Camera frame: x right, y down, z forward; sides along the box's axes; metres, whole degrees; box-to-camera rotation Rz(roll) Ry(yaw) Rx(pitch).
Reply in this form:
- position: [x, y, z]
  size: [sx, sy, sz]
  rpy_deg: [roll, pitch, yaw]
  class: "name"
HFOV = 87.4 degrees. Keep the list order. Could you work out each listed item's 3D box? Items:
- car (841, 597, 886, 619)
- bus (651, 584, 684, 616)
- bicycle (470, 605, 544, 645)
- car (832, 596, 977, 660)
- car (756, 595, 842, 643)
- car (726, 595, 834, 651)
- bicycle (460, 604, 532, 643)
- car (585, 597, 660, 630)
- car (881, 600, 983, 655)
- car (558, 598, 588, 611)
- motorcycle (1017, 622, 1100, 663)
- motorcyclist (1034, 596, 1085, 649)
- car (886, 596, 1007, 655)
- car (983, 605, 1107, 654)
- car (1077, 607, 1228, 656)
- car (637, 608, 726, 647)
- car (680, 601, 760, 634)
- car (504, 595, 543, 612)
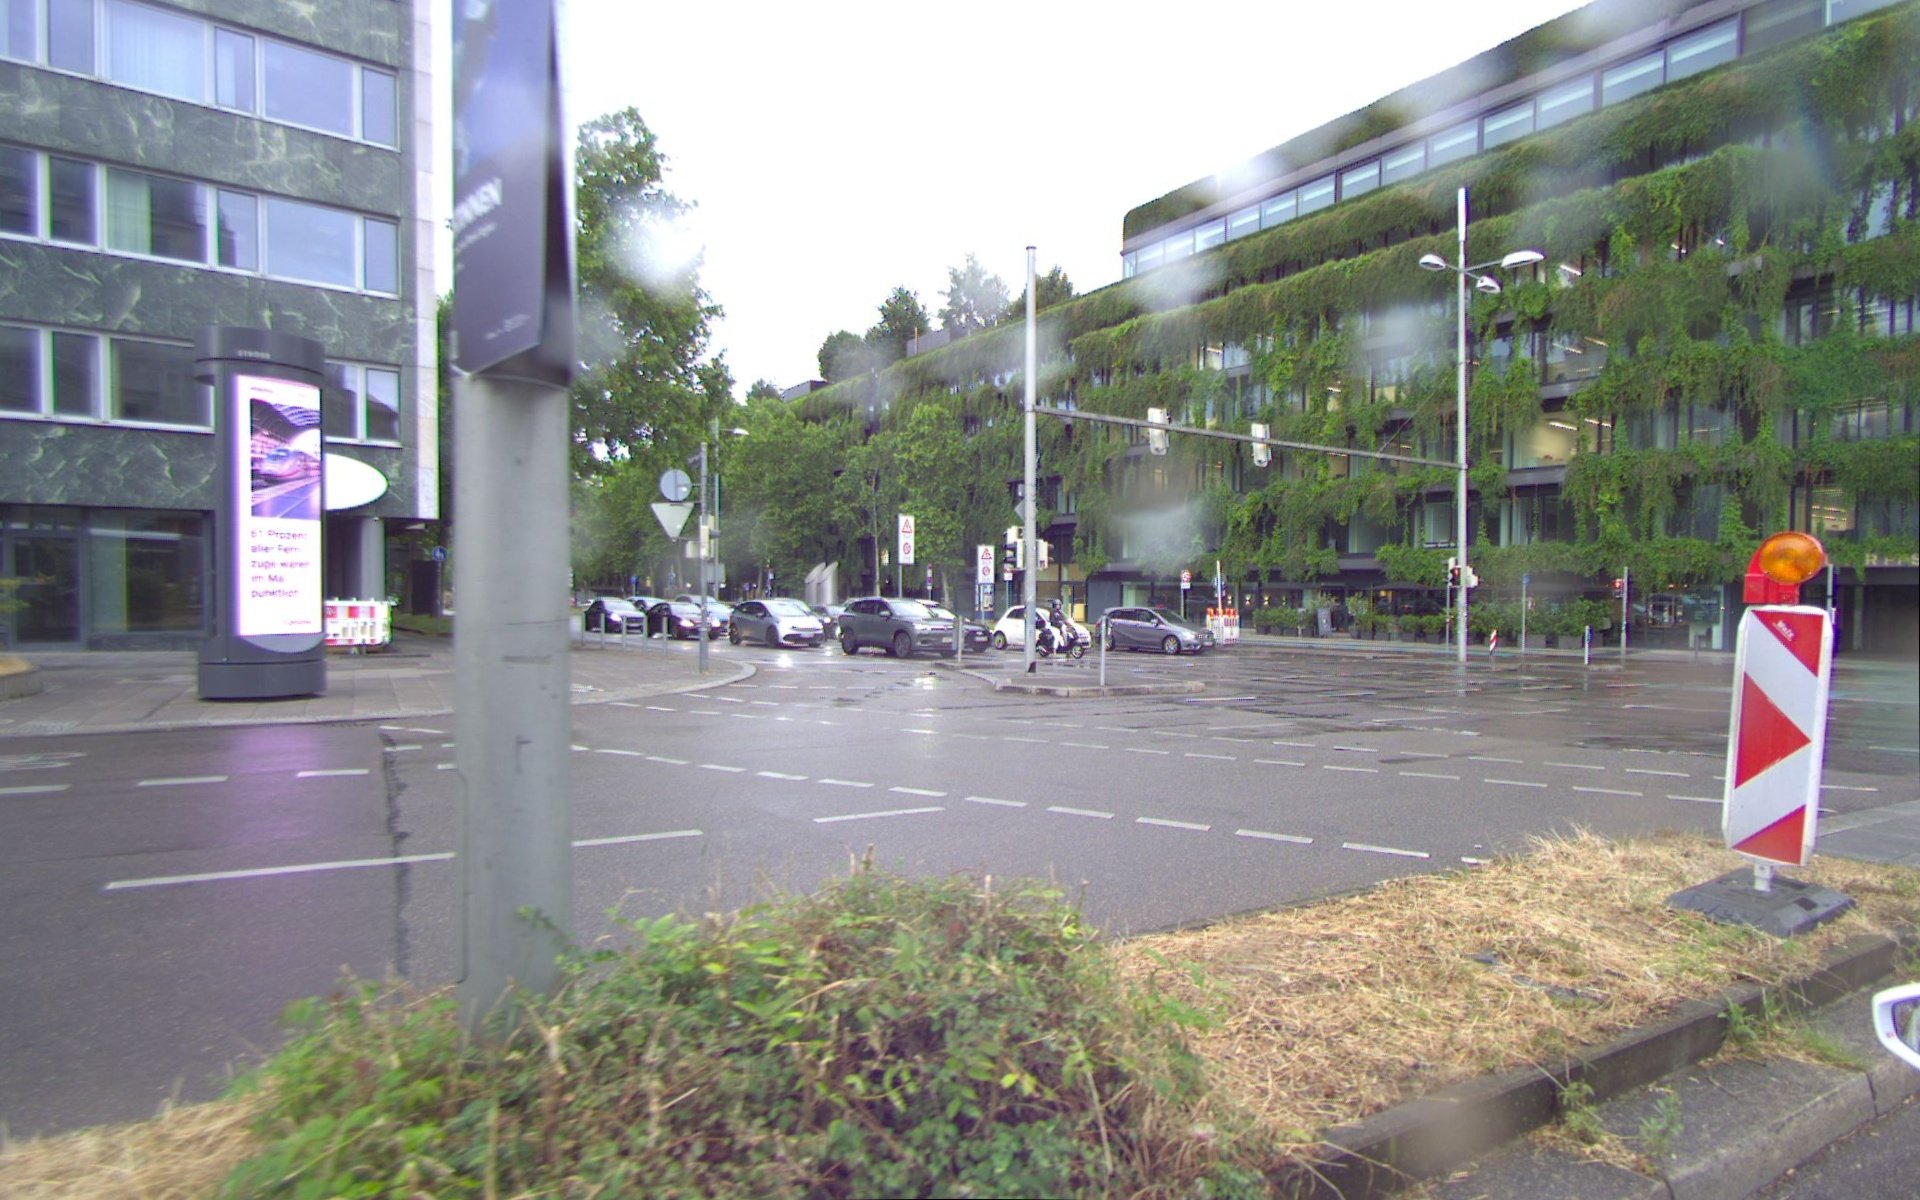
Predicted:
- position: [-7.465, 0.625, 77.173]
  size: [1.783, 1.588, 3.962]
  rpy_deg: [2, 0, -34]
  class: "car"
- position: [-32.109, -0.036, 110.167]
  size: [1.783, 3.385, 5.922]
  rpy_deg: [2, 0, -34]
  class: "bus"
- position: [-12.408, 0.692, 27.561]
  size: [1.765, 1.066, 0.581]
  rpy_deg: [1, 0, -35]
  class: "bicycle"
- position: [-1.681, 0.756, 29.044]
  size: [1.984, 1.709, 4.314]
  rpy_deg: [1, 0, -41]
  class: "car"
- position: [-6.399, 0.716, 39.596]
  size: [1.841, 1.791, 4.139]
  rpy_deg: [1, 0, -32]
  class: "car"
- position: [-6.127, 0.747, 33.961]
  size: [1.982, 1.773, 3.956]
  rpy_deg: [1, 0, -38]
  class: "car"
- position: [-13.086, 0.676, 28.339]
  size: [1.765, 1.066, 0.581]
  rpy_deg: [1, 0, -35]
  class: "bicycle"
- position: [-15.141, 0.606, 44.963]
  size: [1.982, 1.389, 4.131]
  rpy_deg: [1, 0, -37]
  class: "car"
- position: [-1.119, 0.988, 37.688]
  size: [1.978, 1.923, 4.139]
  rpy_deg: [1, 0, -33]
  class: "car"
- position: [-46.845, 0.509, 121.567]
  size: [1.919, 1.508, 4.849]
  rpy_deg: [1, 0, -41]
  class: "car"
- position: [2.839, 1.212, 29.064]
  size: [2.331, 1.068, 0.830]
  rpy_deg: [2, 0, 41]
  class: "motorcycle"
- position: [2.869, 0.648, 29.049]
  size: [1.153, 1.492, 0.832]
  rpy_deg: [2, 0, 40]
  class: "motorcyclist"
- position: [-0.500, 0.775, 32.471]
  size: [1.981, 1.773, 3.958]
  rpy_deg: [1, 0, -37]
  class: "car"
- position: [2.763, 0.936, 33.389]
  size: [1.981, 1.494, 3.958]
  rpy_deg: [1, 0, -37]
  class: "car"
- position: [6.509, 1.029, 34.333]
  size: [4.842, 1.508, 1.922]
  rpy_deg: [1, 0, 45]
  class: "car"
- position: [-11.009, 1.047, 39.551]
  size: [1.982, 1.389, 4.131]
  rpy_deg: [1, 0, -37]
  class: "car"
- position: [-10.782, 0.754, 44.949]
  size: [1.982, 1.389, 4.131]
  rpy_deg: [1, 0, -37]
  class: "car"
- position: [-40.216, 0.345, 92.434]
  size: [1.919, 1.508, 4.849]
  rpy_deg: [1, 0, -41]
  class: "car"
